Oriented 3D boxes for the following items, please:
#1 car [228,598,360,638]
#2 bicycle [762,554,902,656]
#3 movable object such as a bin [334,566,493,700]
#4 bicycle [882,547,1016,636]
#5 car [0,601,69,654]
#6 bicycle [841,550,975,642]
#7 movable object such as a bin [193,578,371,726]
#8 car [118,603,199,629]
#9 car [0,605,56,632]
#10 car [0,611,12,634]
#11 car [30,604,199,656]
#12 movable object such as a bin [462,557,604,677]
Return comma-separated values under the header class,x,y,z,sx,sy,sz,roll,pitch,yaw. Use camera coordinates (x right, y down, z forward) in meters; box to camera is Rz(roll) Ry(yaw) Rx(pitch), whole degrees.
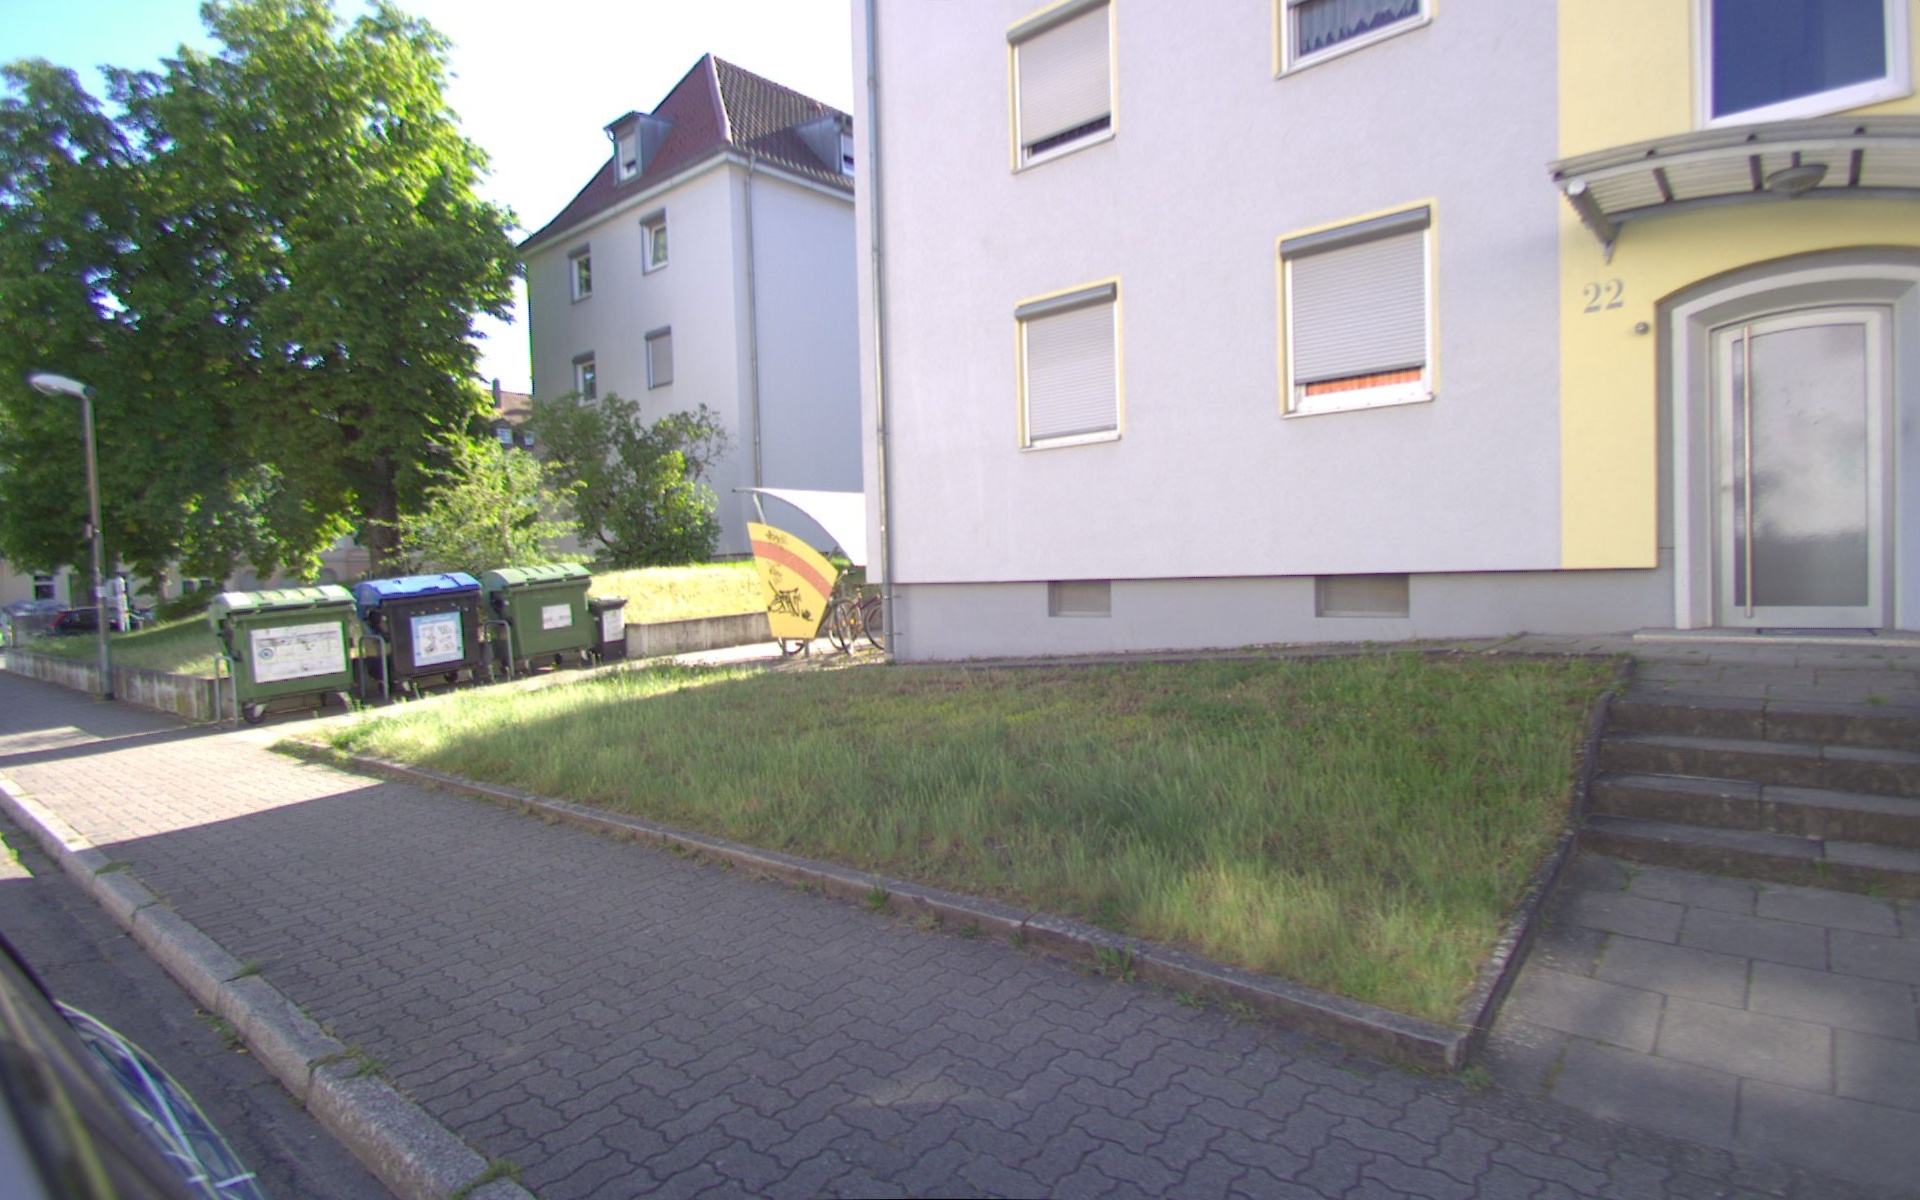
class,x,y,z,sx,sy,sz,roll,pitch,yaw
car,-24.886,0.650,37.919,1.629,1.282,3.814,-1,1,41
bicycle,-1.737,0.068,13.492,2.008,1.259,0.633,-1,3,41
movable object such as a bin,-6.909,0.378,12.828,1.082,1.469,1.342,-1,6,41
bicycle,-0.191,-0.125,15.013,2.008,1.227,0.670,-1,3,41
car,-31.736,0.896,34.625,3.306,1.667,1.655,-1,1,45
bicycle,-0.776,-0.057,14.589,2.008,1.227,0.633,-1,3,41
movable object such as a bin,-7.805,0.555,11.666,1.197,1.470,1.302,-1,6,41
car,-49.868,0.964,63.036,1.624,1.456,3.738,-1,1,42
car,-54.233,1.091,57.770,1.624,1.456,3.738,-1,1,42
car,-59.148,1.409,60.703,1.544,1.329,3.152,-1,1,40
car,-28.223,0.962,33.877,1.728,1.508,4.088,-1,1,41
movable object such as a bin,-5.915,0.210,14.037,1.072,1.463,1.347,-1,6,41
